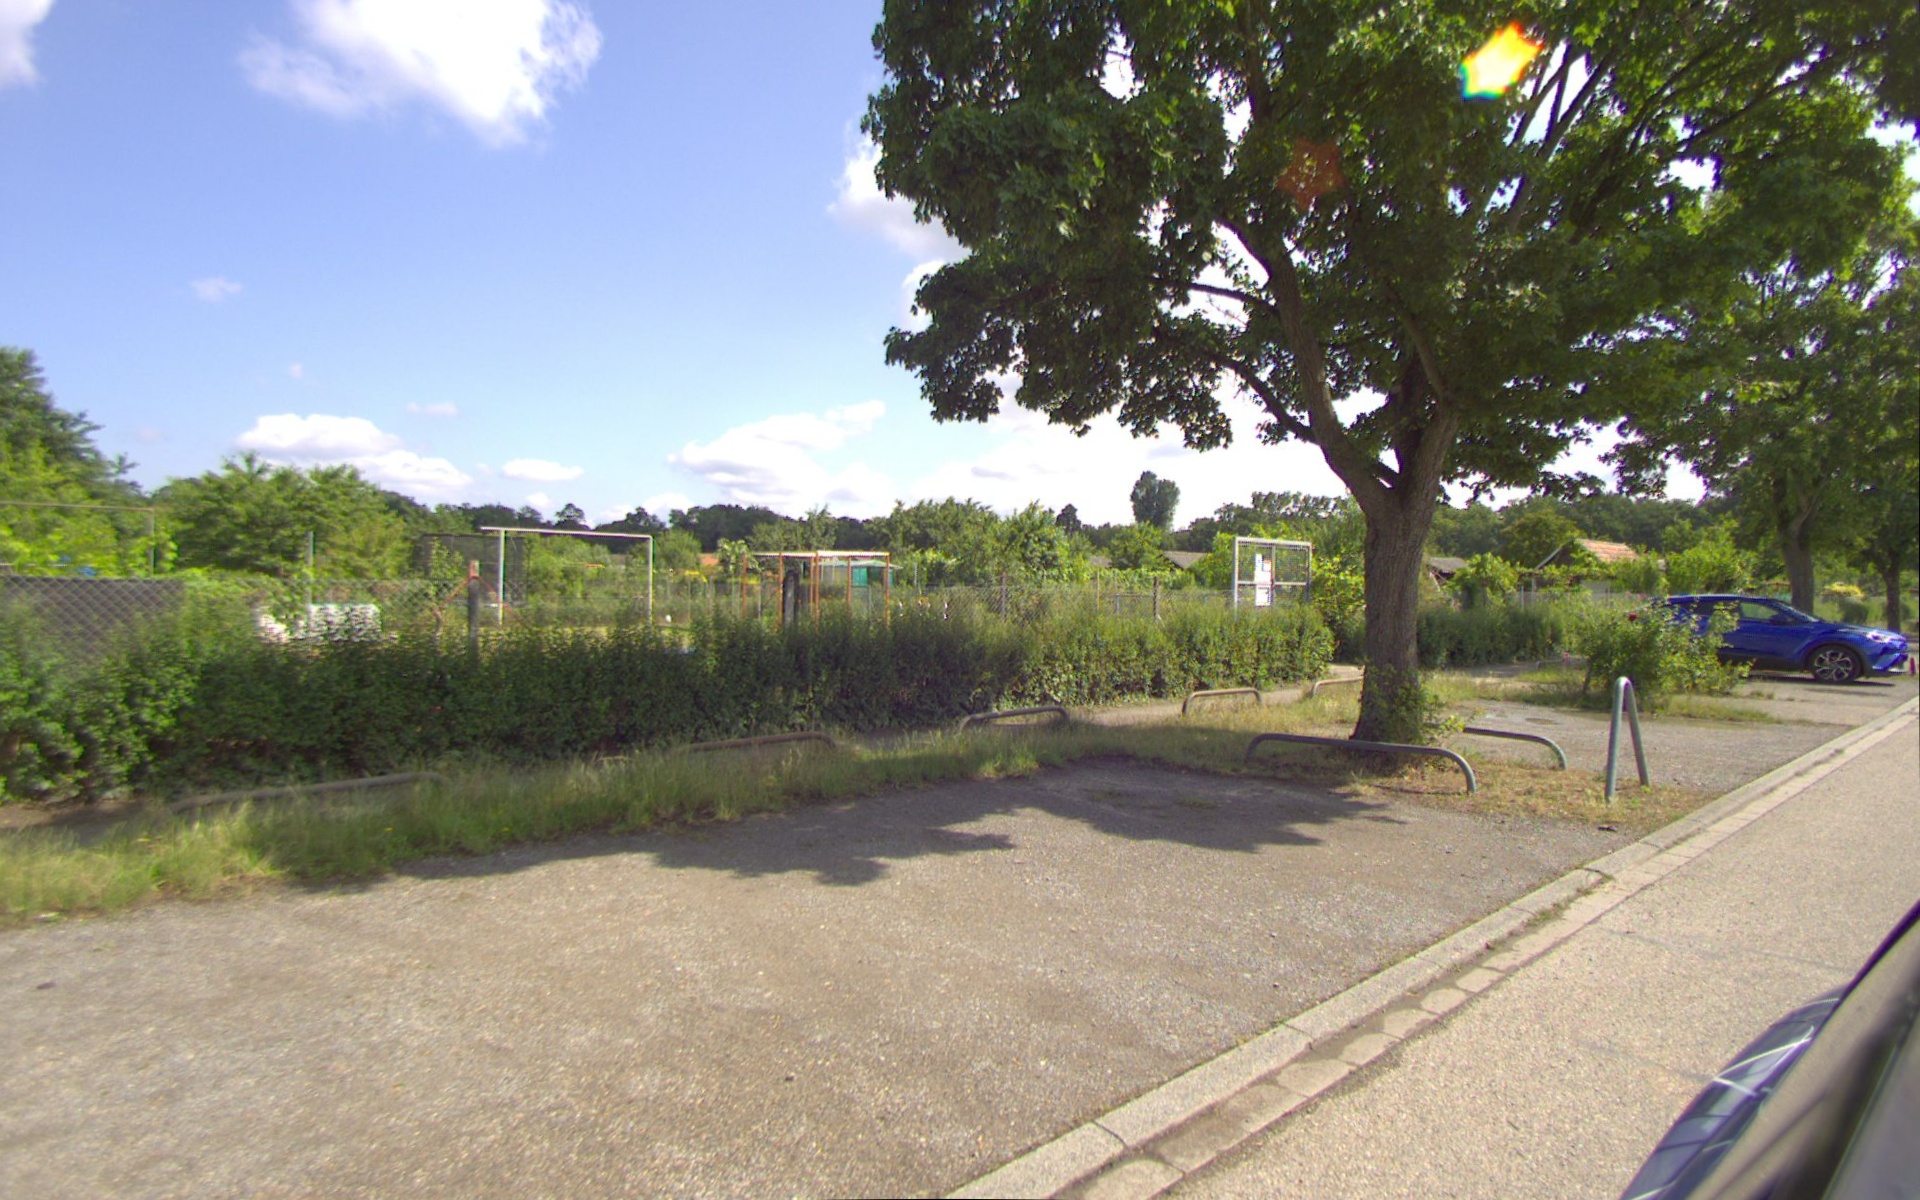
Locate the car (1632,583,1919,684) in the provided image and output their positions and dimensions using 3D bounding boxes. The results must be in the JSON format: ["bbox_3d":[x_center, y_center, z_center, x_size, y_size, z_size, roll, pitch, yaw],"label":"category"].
[{"bbox_3d":[15.045,0.523,18.668,1.750,1.602,4.112,0,2,-42],"label":"car"}]

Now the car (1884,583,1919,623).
[{"bbox_3d":[44.049,0.141,45.197,1.965,1.772,3.926,-1,1,-41],"label":"car"}]
